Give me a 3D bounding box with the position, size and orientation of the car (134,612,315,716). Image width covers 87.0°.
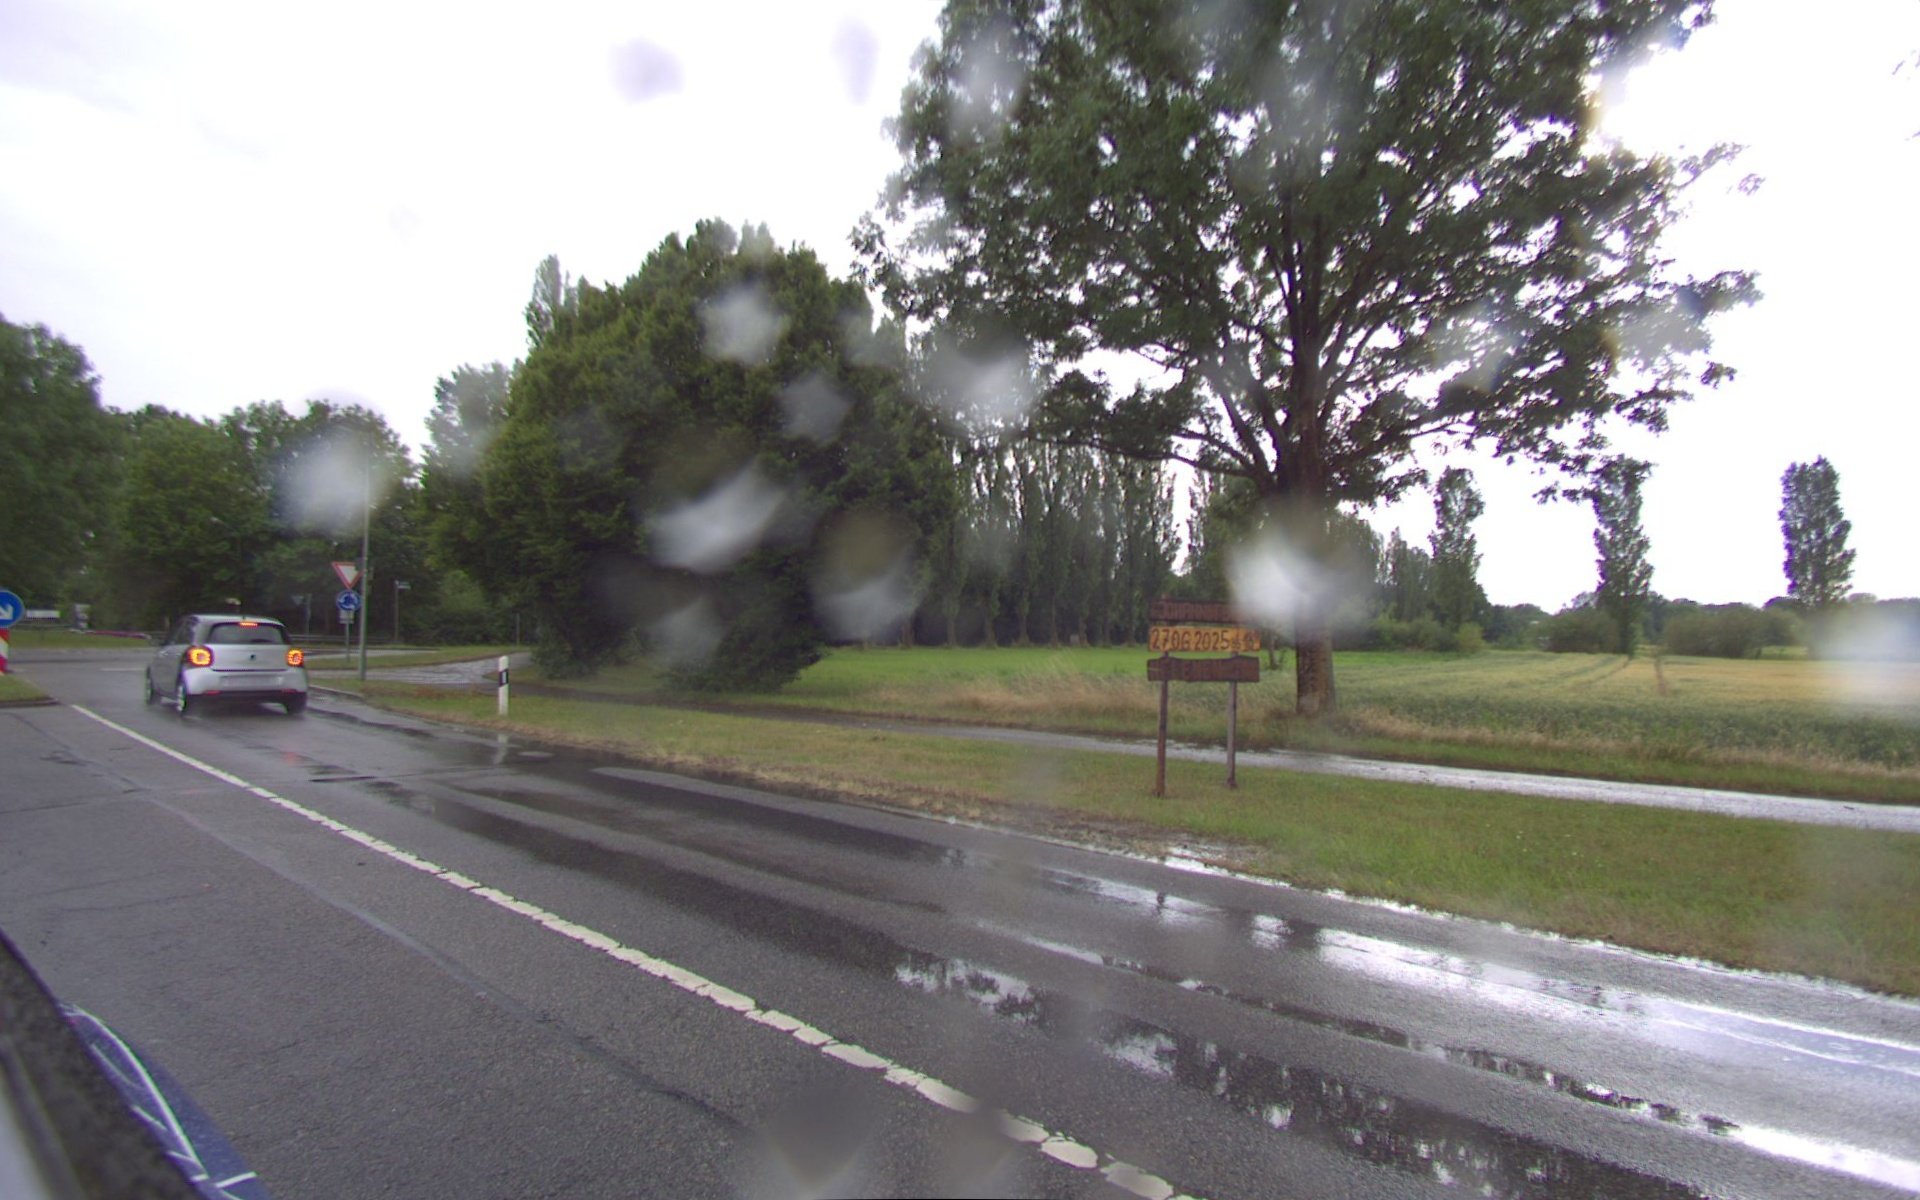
[{"bbox_3d":[-12.088,1.005,16.557,3.735,1.510,1.657,-1,-5,43],"label":"car"}]
